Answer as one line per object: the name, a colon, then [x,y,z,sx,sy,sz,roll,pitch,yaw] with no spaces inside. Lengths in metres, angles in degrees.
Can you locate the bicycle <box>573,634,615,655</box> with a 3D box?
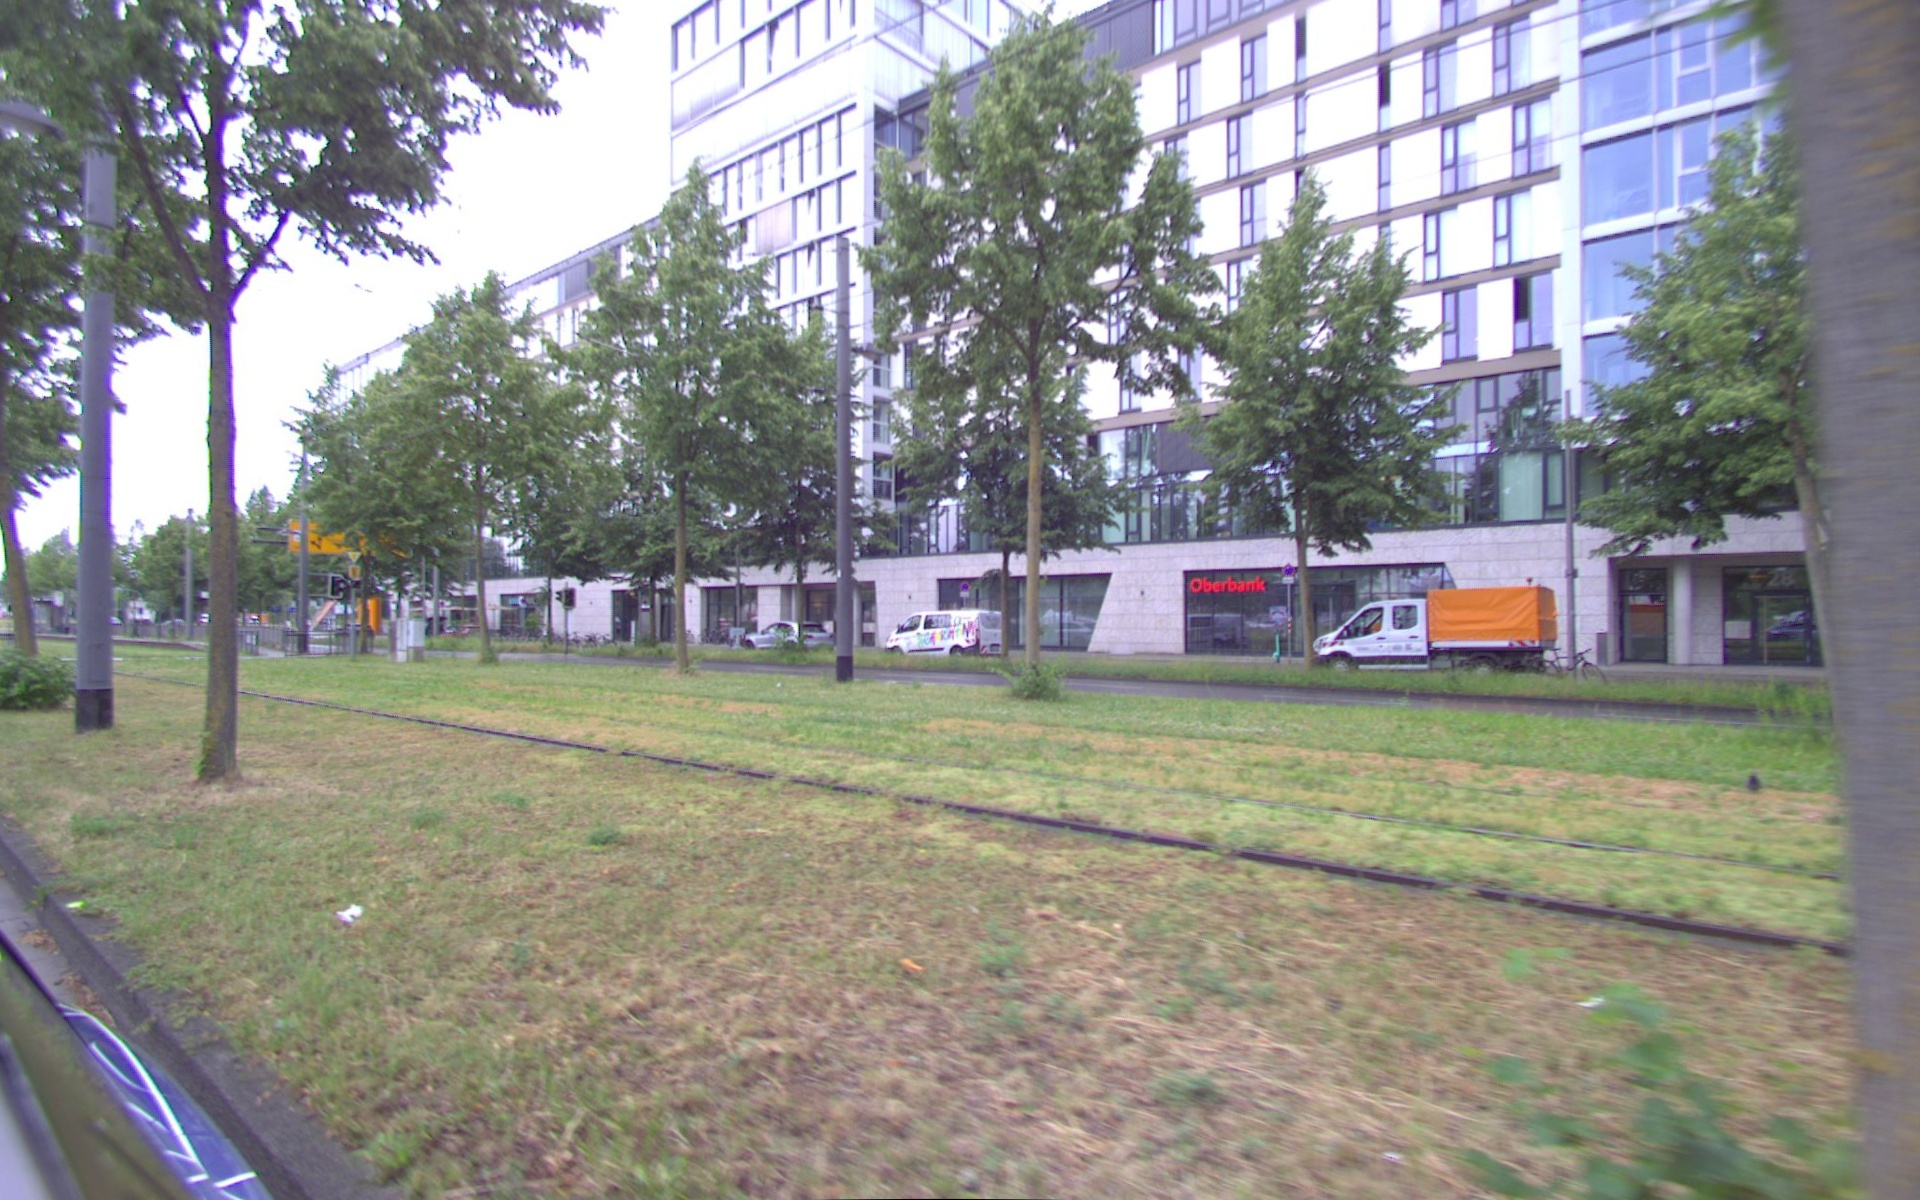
bicycle: [-19.009,2.320,52.640,0.696,1.042,1.957,-2,-2,42]

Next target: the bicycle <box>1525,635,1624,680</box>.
bicycle: [13.512,1.246,22.287,1.758,0.952,0.592,-2,-2,45]

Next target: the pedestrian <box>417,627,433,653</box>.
pedestrian: [-35.644,2.664,67.425,0.793,1.704,0.703,-2,-2,43]

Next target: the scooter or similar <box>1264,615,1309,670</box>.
scooter or similar: [11.509,1.475,35.642,0.883,1.838,2.105,-1,-1,37]

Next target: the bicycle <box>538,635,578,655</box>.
bicycle: [-22.225,2.474,56.013,0.696,1.042,1.957,-2,-2,42]

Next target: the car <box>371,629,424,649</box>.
car: [-38.319,2.621,68.935,4.070,1.298,1.972,-1,-1,43]

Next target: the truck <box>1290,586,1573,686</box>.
truck: [12.199,0.905,26.517,6.305,2.309,2.401,-1,-2,41]

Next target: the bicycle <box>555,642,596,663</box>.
bicycle: [-20.452,2.779,53.894,0.696,1.042,1.957,-2,-2,42]

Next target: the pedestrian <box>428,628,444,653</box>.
pedestrian: [-35.266,2.712,68.120,0.793,1.704,0.703,-2,-2,43]

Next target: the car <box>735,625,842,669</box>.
car: [-7.260,1.940,42.628,4.461,1.725,2.122,-1,-2,41]

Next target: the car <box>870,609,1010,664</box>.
car: [-0.793,1.305,37.149,5.160,1.866,1.973,-1,-2,40]

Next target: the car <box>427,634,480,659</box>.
car: [-36.485,3.298,72.852,4.189,1.706,1.973,-1,-2,41]
